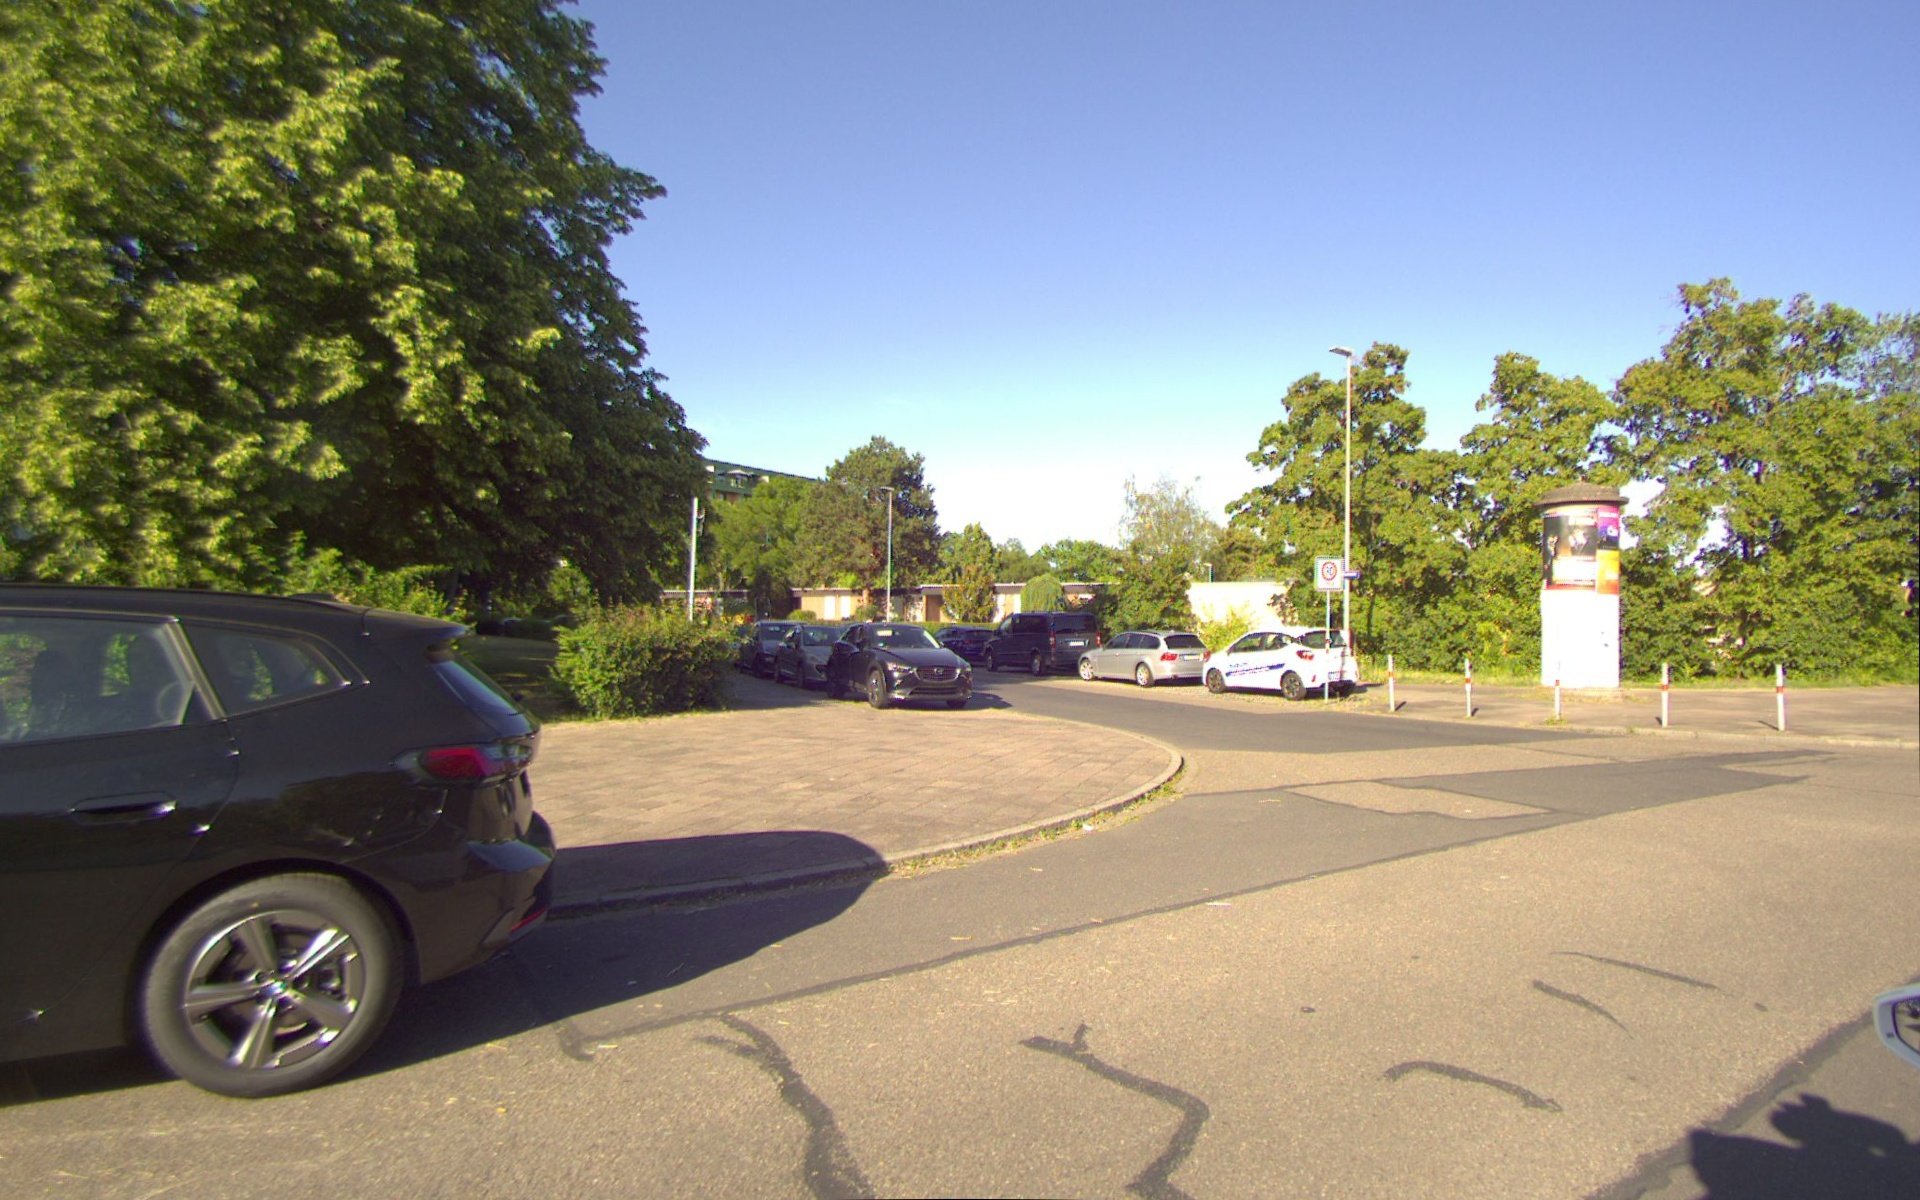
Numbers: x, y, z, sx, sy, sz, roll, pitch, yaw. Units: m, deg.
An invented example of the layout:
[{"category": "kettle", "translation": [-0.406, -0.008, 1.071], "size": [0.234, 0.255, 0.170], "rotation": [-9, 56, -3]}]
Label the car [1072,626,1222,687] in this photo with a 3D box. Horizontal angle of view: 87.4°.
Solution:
[{"category": "car", "translation": [4.920, 1.482, 26.988], "size": [1.715, 1.481, 4.315], "rotation": [2, -3, -27]}]

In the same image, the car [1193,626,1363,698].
[{"category": "car", "translation": [7.046, 1.356, 22.553], "size": [1.716, 1.481, 3.507], "rotation": [2, -3, -27]}]

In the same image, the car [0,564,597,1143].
[{"category": "car", "translation": [-3.590, 0.733, 3.328], "size": [4.364, 1.594, 1.775], "rotation": [1, -3, -25]}]

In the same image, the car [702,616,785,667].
[{"category": "car", "translation": [-7.231, 1.376, 33.312], "size": [1.724, 1.563, 4.073], "rotation": [2, -3, -27]}]

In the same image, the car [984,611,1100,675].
[{"category": "car", "translation": [2.544, 1.363, 32.084], "size": [1.715, 1.879, 4.315], "rotation": [2, -3, -27]}]

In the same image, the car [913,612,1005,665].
[{"category": "car", "translation": [-0.097, 1.452, 37.793], "size": [1.715, 1.879, 4.315], "rotation": [2, -3, -27]}]

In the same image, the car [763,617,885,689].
[{"category": "car", "translation": [-3.331, 1.249, 24.023], "size": [1.724, 1.563, 3.901], "rotation": [2, -3, -27]}]

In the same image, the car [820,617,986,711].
[{"category": "car", "translation": [-1.180, 1.150, 18.898], "size": [1.724, 1.563, 3.901], "rotation": [2, -3, -27]}]

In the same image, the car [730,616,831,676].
[{"category": "car", "translation": [-5.126, 1.283, 28.340], "size": [1.724, 1.563, 4.073], "rotation": [2, -3, -27]}]
